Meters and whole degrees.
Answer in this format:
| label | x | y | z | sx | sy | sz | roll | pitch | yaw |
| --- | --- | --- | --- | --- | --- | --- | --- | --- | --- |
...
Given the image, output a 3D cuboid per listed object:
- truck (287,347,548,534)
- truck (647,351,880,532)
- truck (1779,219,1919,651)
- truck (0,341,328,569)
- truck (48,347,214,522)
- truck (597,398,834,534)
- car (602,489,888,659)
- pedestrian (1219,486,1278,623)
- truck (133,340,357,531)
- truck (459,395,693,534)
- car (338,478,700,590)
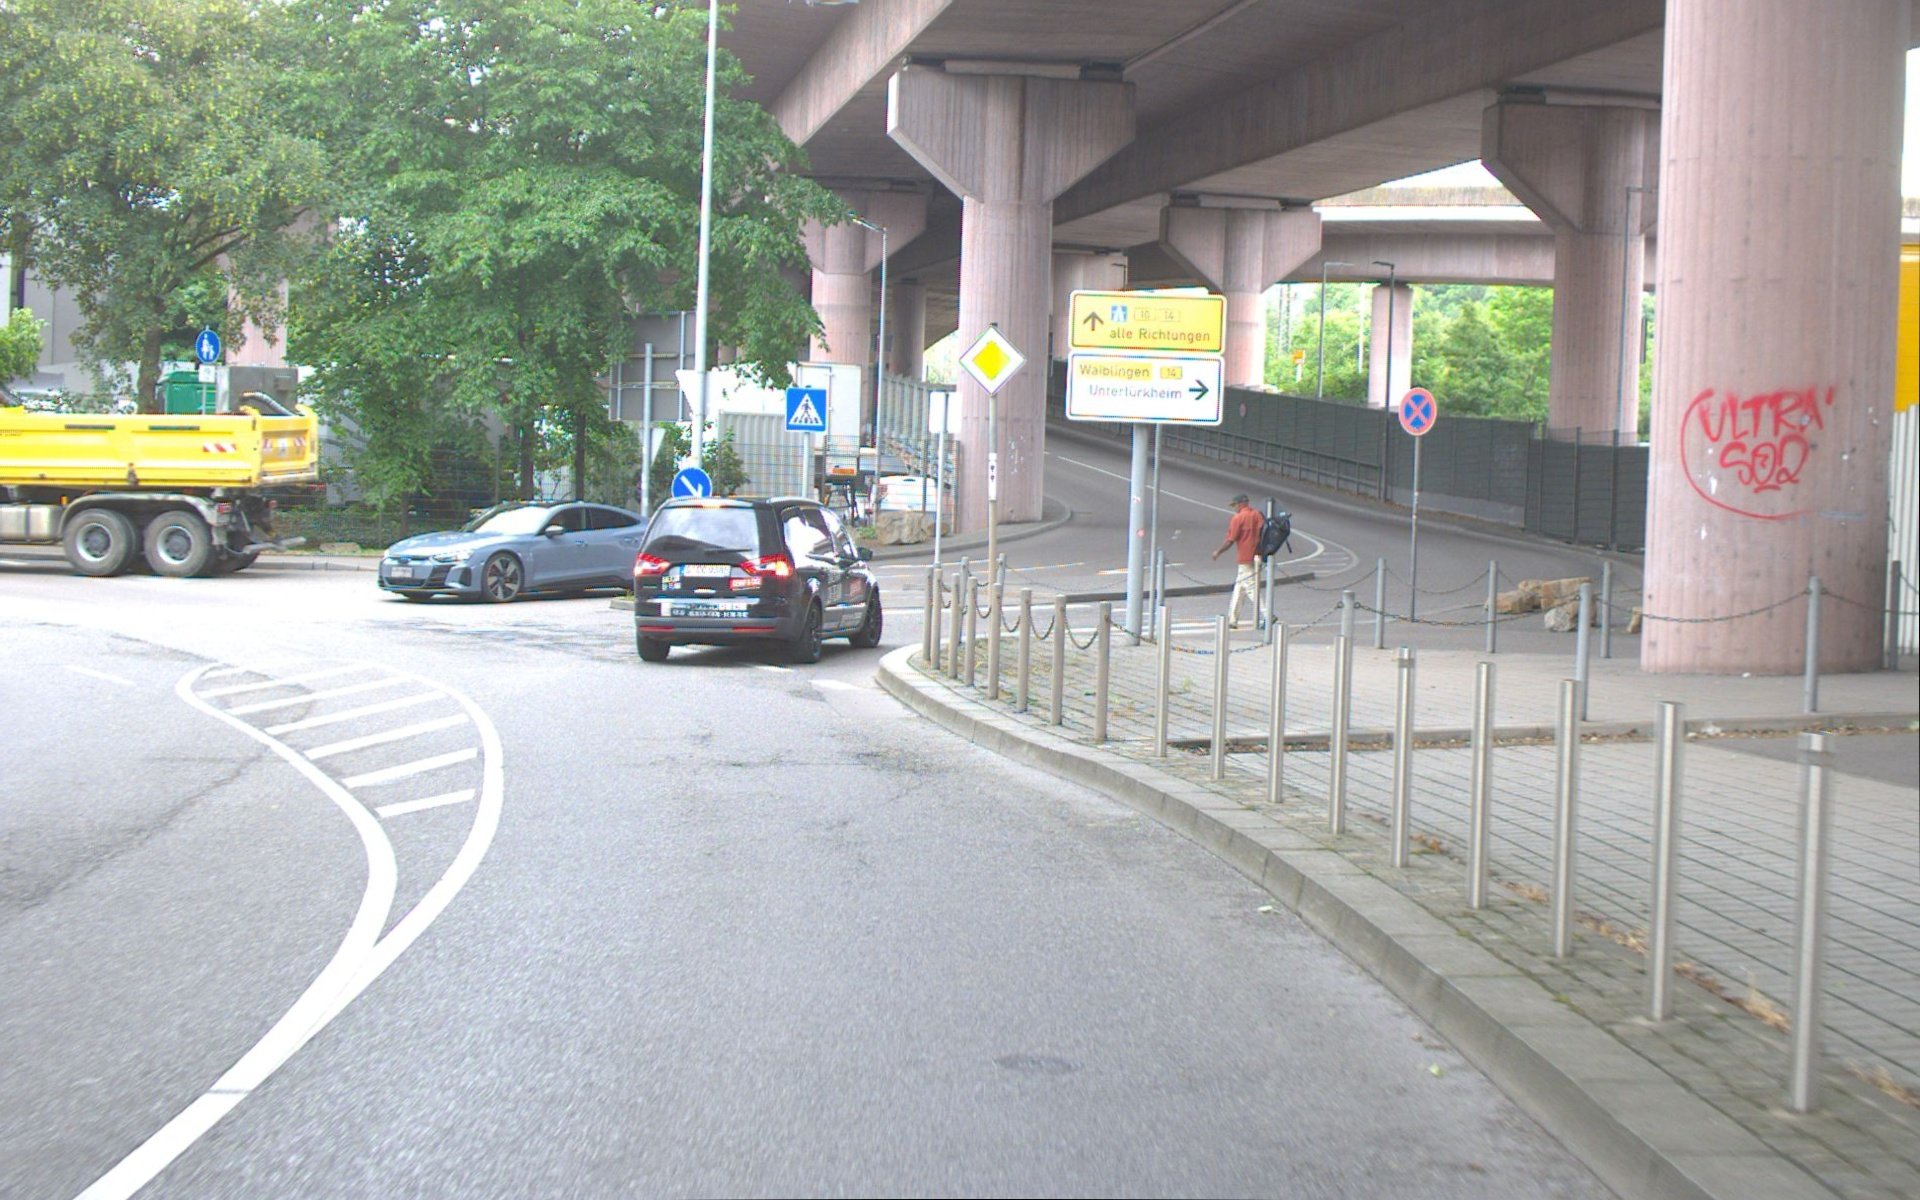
| label | x | y | z | sx | sy | sz | roll | pitch | yaw |
| --- | --- | --- | --- | --- | --- | --- | --- | --- | --- |
| truck | -12.031 | -3.568 | 75.514 | 3.065 | 3.854 | 8.050 | -1 | 4 | -29 |
| truck | -5.041 | -4.056 | 86.382 | 3.065 | 4.284 | 8.051 | 0 | 4 | -24 |
| truck | 13.361 | -1.896 | 42.636 | 3.144 | 4.900 | 8.700 | 3 | 2 | 35 |
| truck | -14.640 | -2.419 | 55.486 | 8.220 | 3.469 | 2.936 | 1 | 5 | 9 |
| truck | -23.802 | -4.806 | 98.358 | 3.202 | 4.763 | 8.051 | 0 | 4 | -24 |
| truck | -5.700 | -3.118 | 79.151 | 2.915 | 2.888 | 6.560 | -1 | 4 | -29 |
| car | -2.199 | -0.331 | 36.555 | 1.994 | 1.673 | 4.559 | 1 | 2 | 10 |
| pedestrian | 3.575 | -0.569 | 42.647 | 0.536 | 1.670 | 0.558 | -1 | 3 | -19 |
| truck | -15.734 | -3.583 | 75.242 | 3.065 | 3.949 | 6.925 | 0 | 3 | -27 |
| truck | -8.726 | -3.089 | 77.390 | 2.915 | 2.888 | 6.560 | -1 | 4 | -29 |
| car | -6.230 | -0.952 | 49.047 | 2.172 | 1.496 | 4.921 | 3 | 3 | 41 |
